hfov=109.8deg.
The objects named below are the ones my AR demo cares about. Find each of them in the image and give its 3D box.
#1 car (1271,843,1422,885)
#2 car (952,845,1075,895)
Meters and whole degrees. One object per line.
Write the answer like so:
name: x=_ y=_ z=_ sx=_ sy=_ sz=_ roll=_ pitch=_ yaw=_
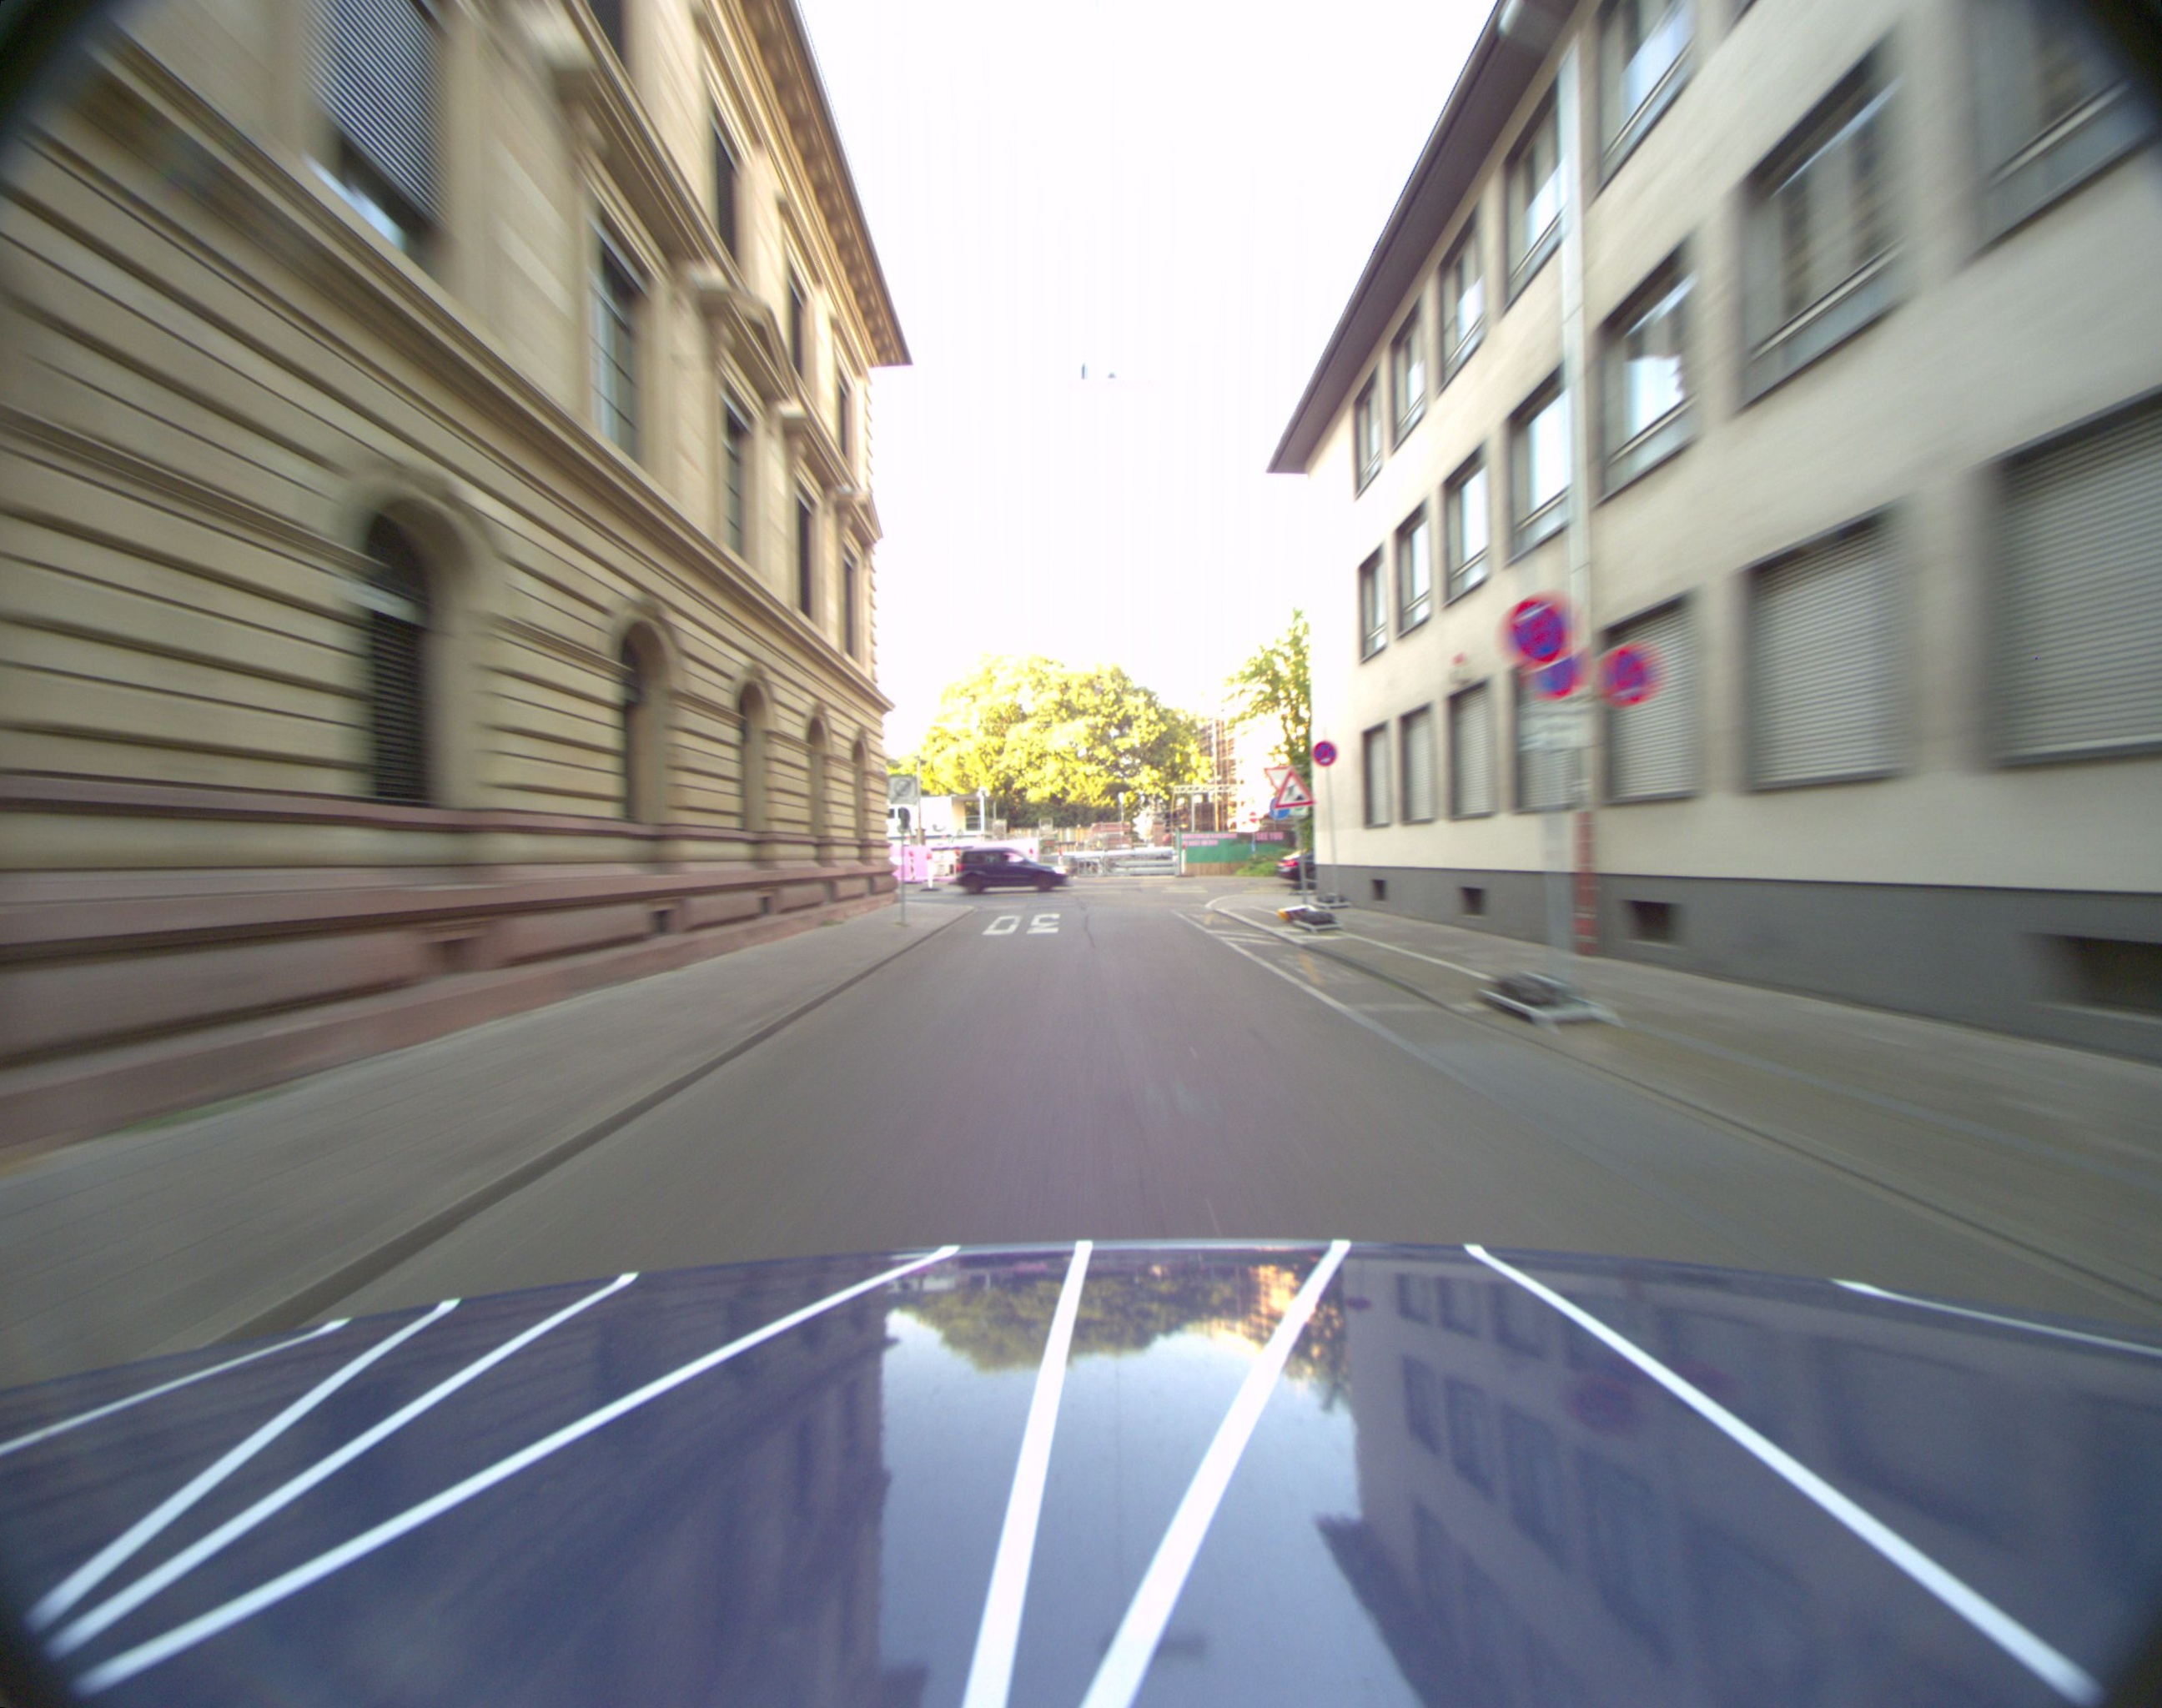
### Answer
car: x=9.625 y=0.345 z=27.831 sx=4.827 sy=1.375 sz=2.000 roll=-1 pitch=1 yaw=2
car: x=-2.415 y=0.547 z=27.995 sx=4.248 sy=1.648 sz=1.937 roll=-2 pitch=1 yaw=3
